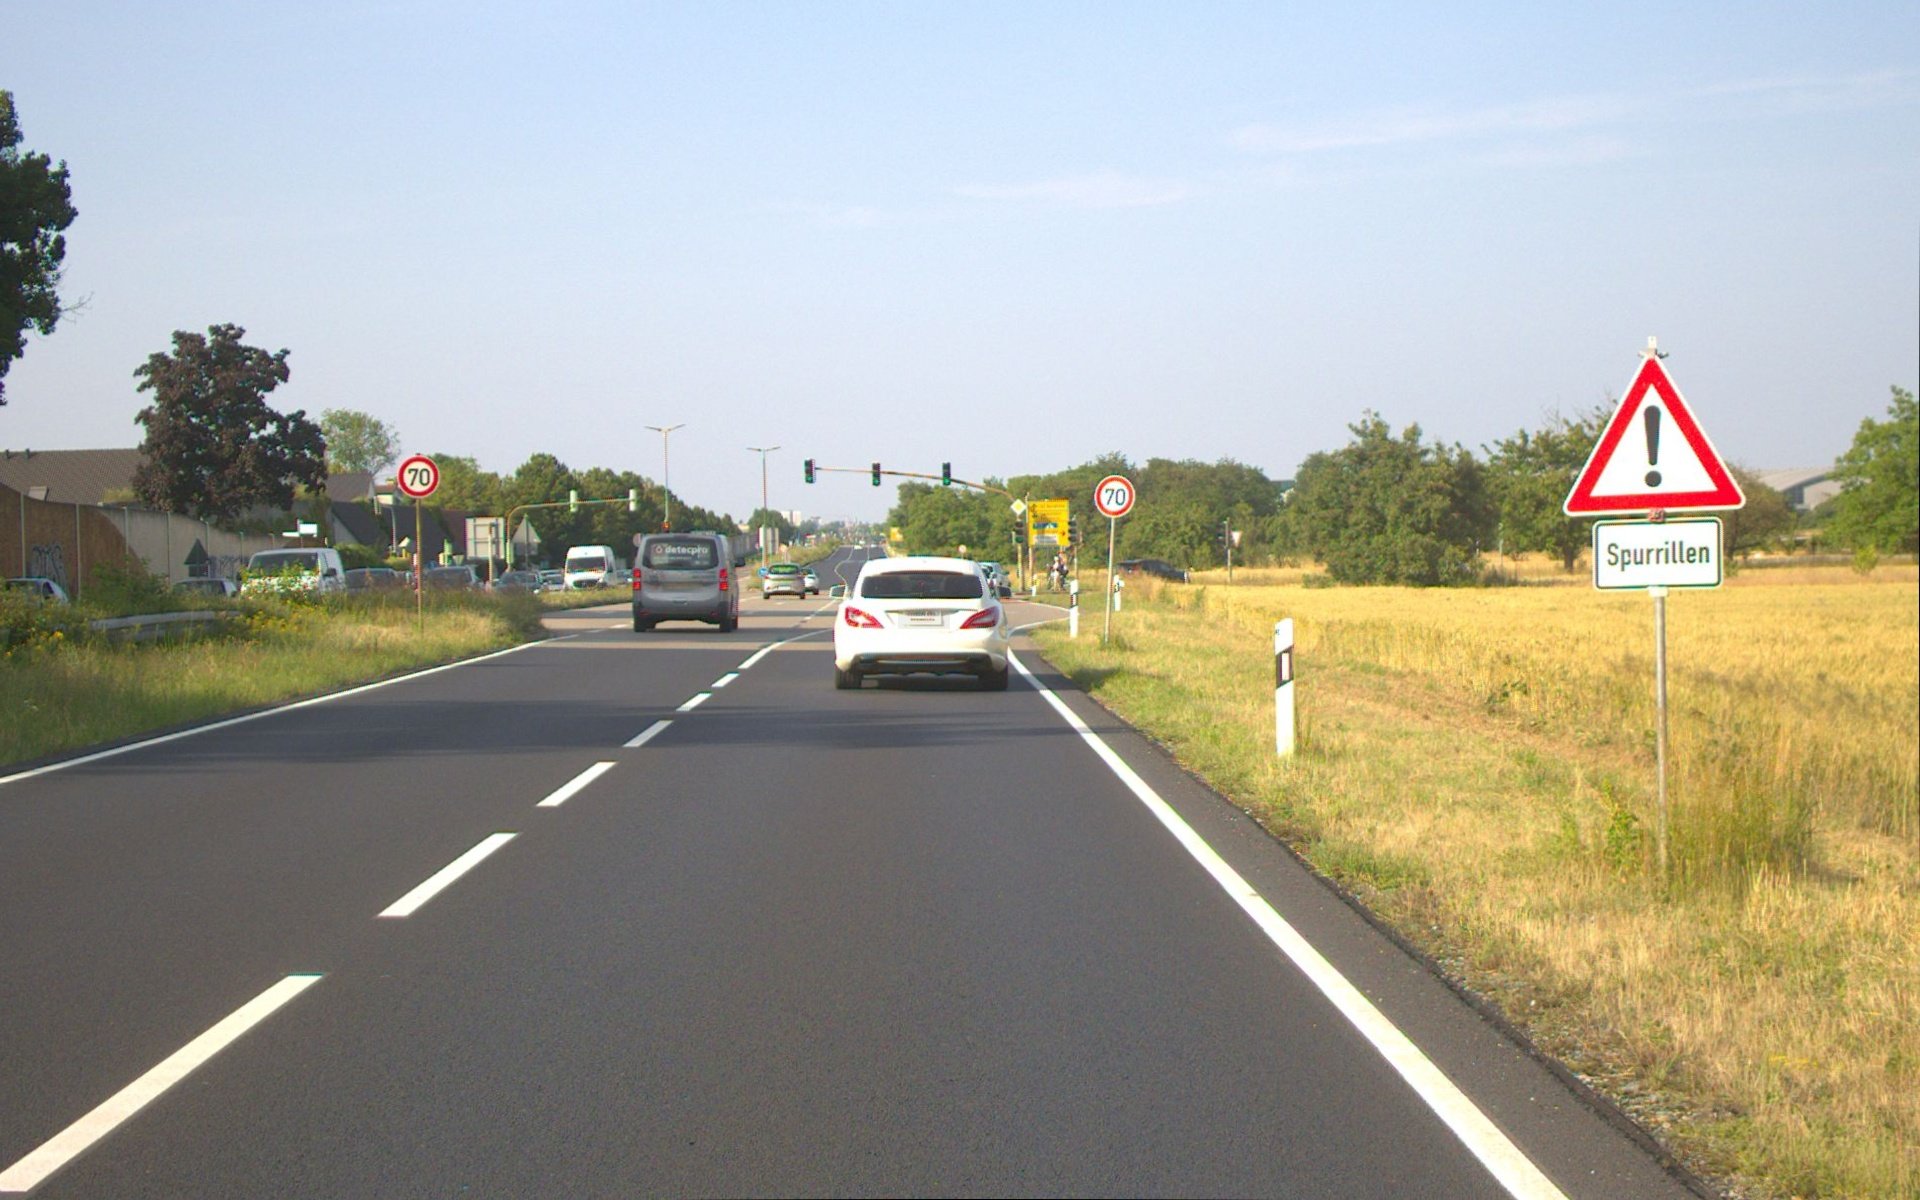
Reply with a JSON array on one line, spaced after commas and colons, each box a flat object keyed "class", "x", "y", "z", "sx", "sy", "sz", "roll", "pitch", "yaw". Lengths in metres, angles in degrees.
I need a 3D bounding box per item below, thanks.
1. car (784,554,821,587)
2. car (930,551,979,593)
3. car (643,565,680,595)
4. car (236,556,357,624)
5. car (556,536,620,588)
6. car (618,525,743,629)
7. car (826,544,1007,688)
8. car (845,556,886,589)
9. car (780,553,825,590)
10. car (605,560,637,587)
[{"class": "car", "x": -8.118, "y": -1.508, "z": 176.959, "sx": 1.775, "sy": 1.660, "sz": 3.664, "roll": 1, "pitch": 1, "yaw": -5}, {"class": "car", "x": -0.214, "y": -1.050, "z": 127.289, "sx": 1.754, "sy": 1.511, "sz": 4.000, "roll": -1, "pitch": 1, "yaw": -1}, {"class": "car", "x": -16.558, "y": -1.111, "z": 190.890, "sx": 1.731, "sy": 1.619, "sz": 4.923, "roll": 1, "pitch": 1, "yaw": -2}, {"class": "car", "x": -15.248, "y": -0.253, "z": 79.234, "sx": 1.981, "sy": 1.479, "sz": 5.061, "roll": 1, "pitch": 1, "yaw": -2}, {"class": "car", "x": -16.896, "y": -1.734, "z": 156.453, "sx": 2.348, "sy": 2.295, "sz": 7.192, "roll": 1, "pitch": 1, "yaw": -2}, {"class": "car", "x": -5.333, "y": -0.480, "z": 66.052, "sx": 2.025, "sy": 1.885, "sz": 4.959, "roll": 1, "pitch": 1, "yaw": -1}, {"class": "car", "x": -0.508, "y": 0.140, "z": 38.047, "sx": 1.894, "sy": 1.503, "sz": 4.000, "roll": 0, "pitch": 1, "yaw": -1}, {"class": "car", "x": -4.931, "y": -1.439, "z": 179.057, "sx": 1.839, "sy": 1.678, "sz": 4.001, "roll": 1, "pitch": 1, "yaw": -5}, {"class": "car", "x": -6.492, "y": -1.175, "z": 141.712, "sx": 1.717, "sy": 1.487, "sz": 3.585, "roll": 1, "pitch": 1, "yaw": -1}, {"class": "car", "x": -22.215, "y": -1.751, "z": 225.248, "sx": 1.722, "sy": 1.700, "sz": 4.000, "roll": 1, "pitch": 1, "yaw": -1}]
